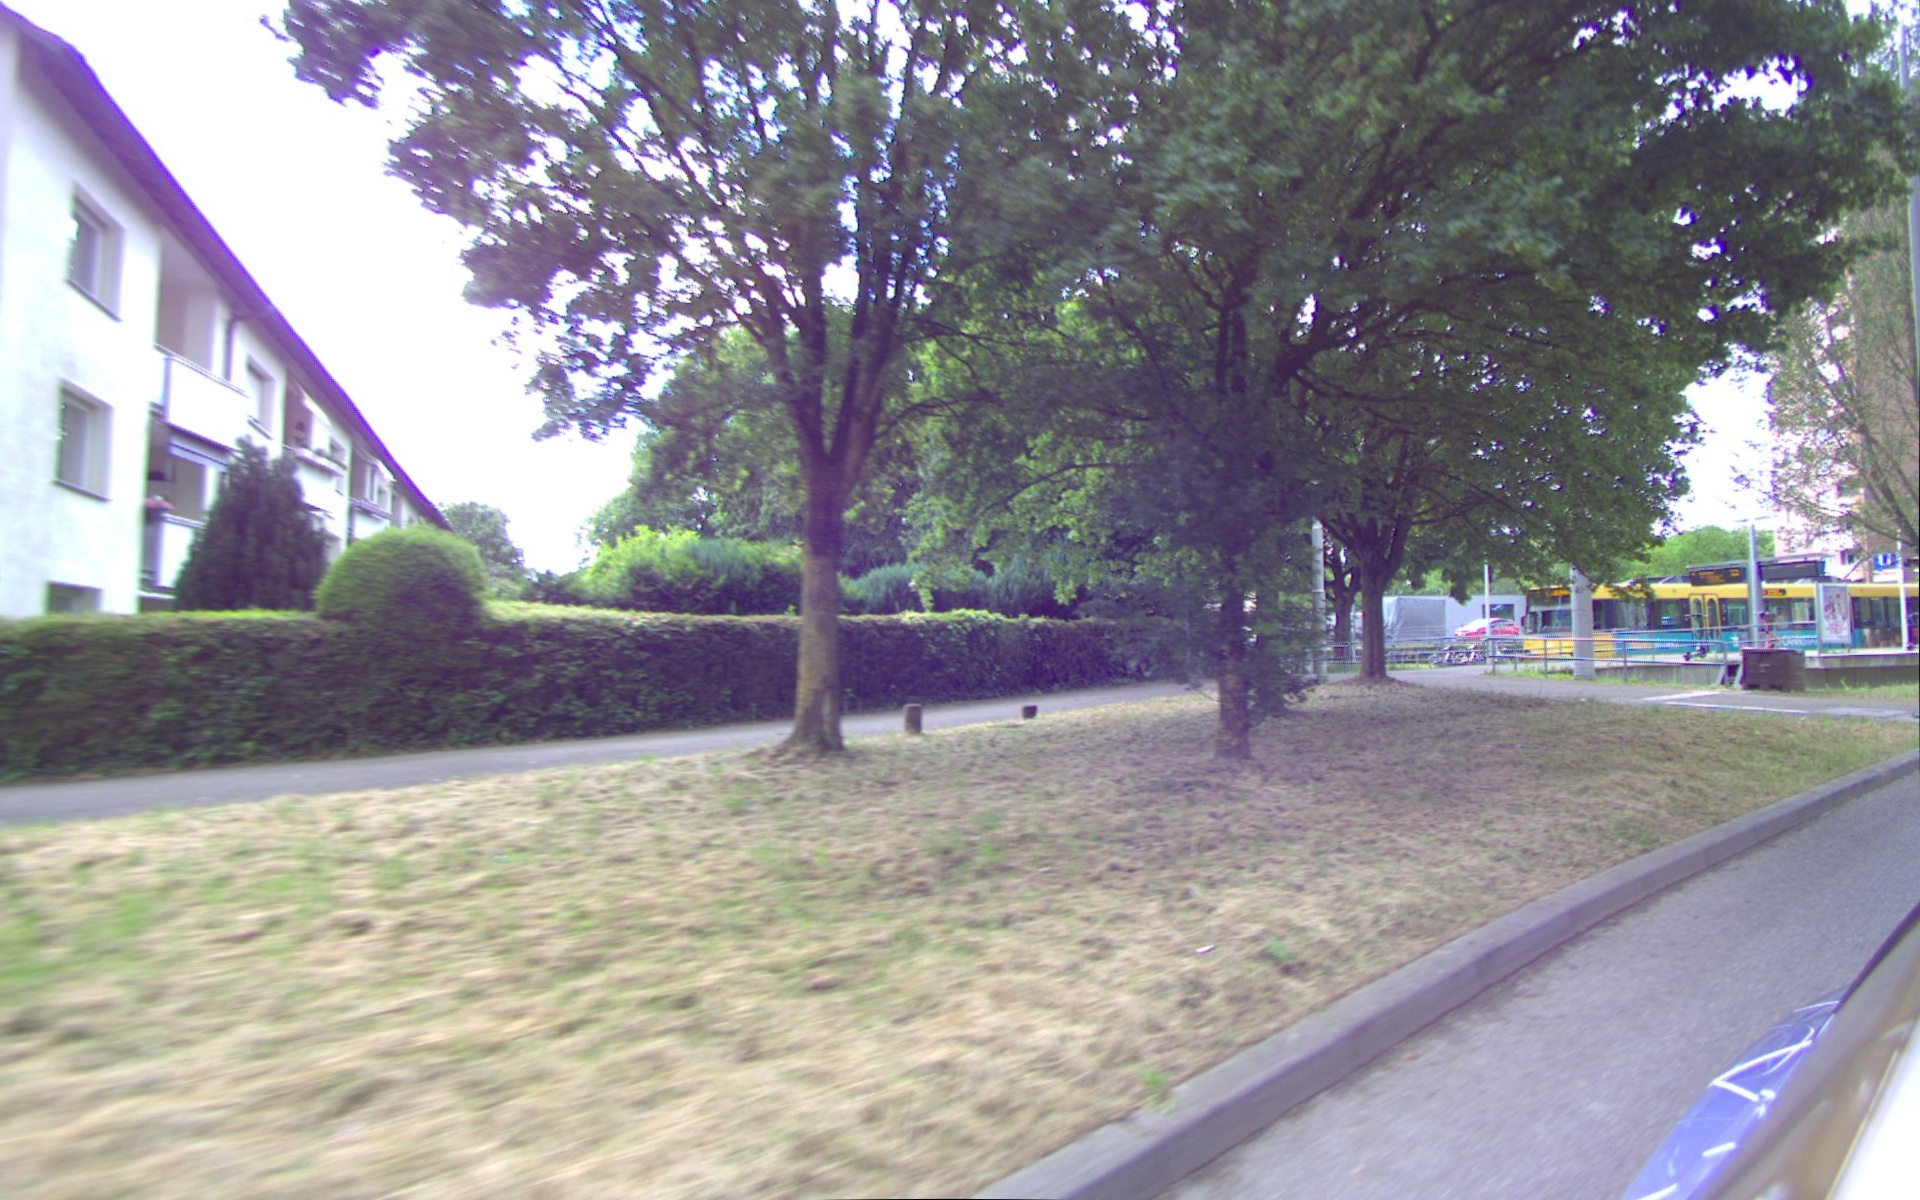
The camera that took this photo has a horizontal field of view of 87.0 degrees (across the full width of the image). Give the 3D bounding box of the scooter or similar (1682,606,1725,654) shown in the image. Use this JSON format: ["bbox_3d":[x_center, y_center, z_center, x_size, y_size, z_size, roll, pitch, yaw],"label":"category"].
[{"bbox_3d":[20.733,0.840,28.214,1.230,1.269,0.431,-2,-2,-30],"label":"scooter or similar"}]

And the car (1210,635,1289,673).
[{"bbox_3d":[16.697,3.111,58.439,3.916,2.040,1.908,-1,-2,-18],"label":"car"}]

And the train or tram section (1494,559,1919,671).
[{"bbox_3d":[28.463,0.541,37.317,19.102,3.637,2.826,0,-5,-18],"label":"train or tram section"}]

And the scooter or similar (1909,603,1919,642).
[{"bbox_3d":[31.804,0.744,33.221,1.122,1.258,0.370,0,-3,-18],"label":"scooter or similar"}]

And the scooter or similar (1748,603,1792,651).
[{"bbox_3d":[22.617,0.760,28.261,1.229,1.269,0.431,-2,-2,-27],"label":"scooter or similar"}]

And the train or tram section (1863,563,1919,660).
[{"bbox_3d":[46.822,0.427,43.127,19.102,3.787,2.826,0,-5,-18],"label":"train or tram section"}]
